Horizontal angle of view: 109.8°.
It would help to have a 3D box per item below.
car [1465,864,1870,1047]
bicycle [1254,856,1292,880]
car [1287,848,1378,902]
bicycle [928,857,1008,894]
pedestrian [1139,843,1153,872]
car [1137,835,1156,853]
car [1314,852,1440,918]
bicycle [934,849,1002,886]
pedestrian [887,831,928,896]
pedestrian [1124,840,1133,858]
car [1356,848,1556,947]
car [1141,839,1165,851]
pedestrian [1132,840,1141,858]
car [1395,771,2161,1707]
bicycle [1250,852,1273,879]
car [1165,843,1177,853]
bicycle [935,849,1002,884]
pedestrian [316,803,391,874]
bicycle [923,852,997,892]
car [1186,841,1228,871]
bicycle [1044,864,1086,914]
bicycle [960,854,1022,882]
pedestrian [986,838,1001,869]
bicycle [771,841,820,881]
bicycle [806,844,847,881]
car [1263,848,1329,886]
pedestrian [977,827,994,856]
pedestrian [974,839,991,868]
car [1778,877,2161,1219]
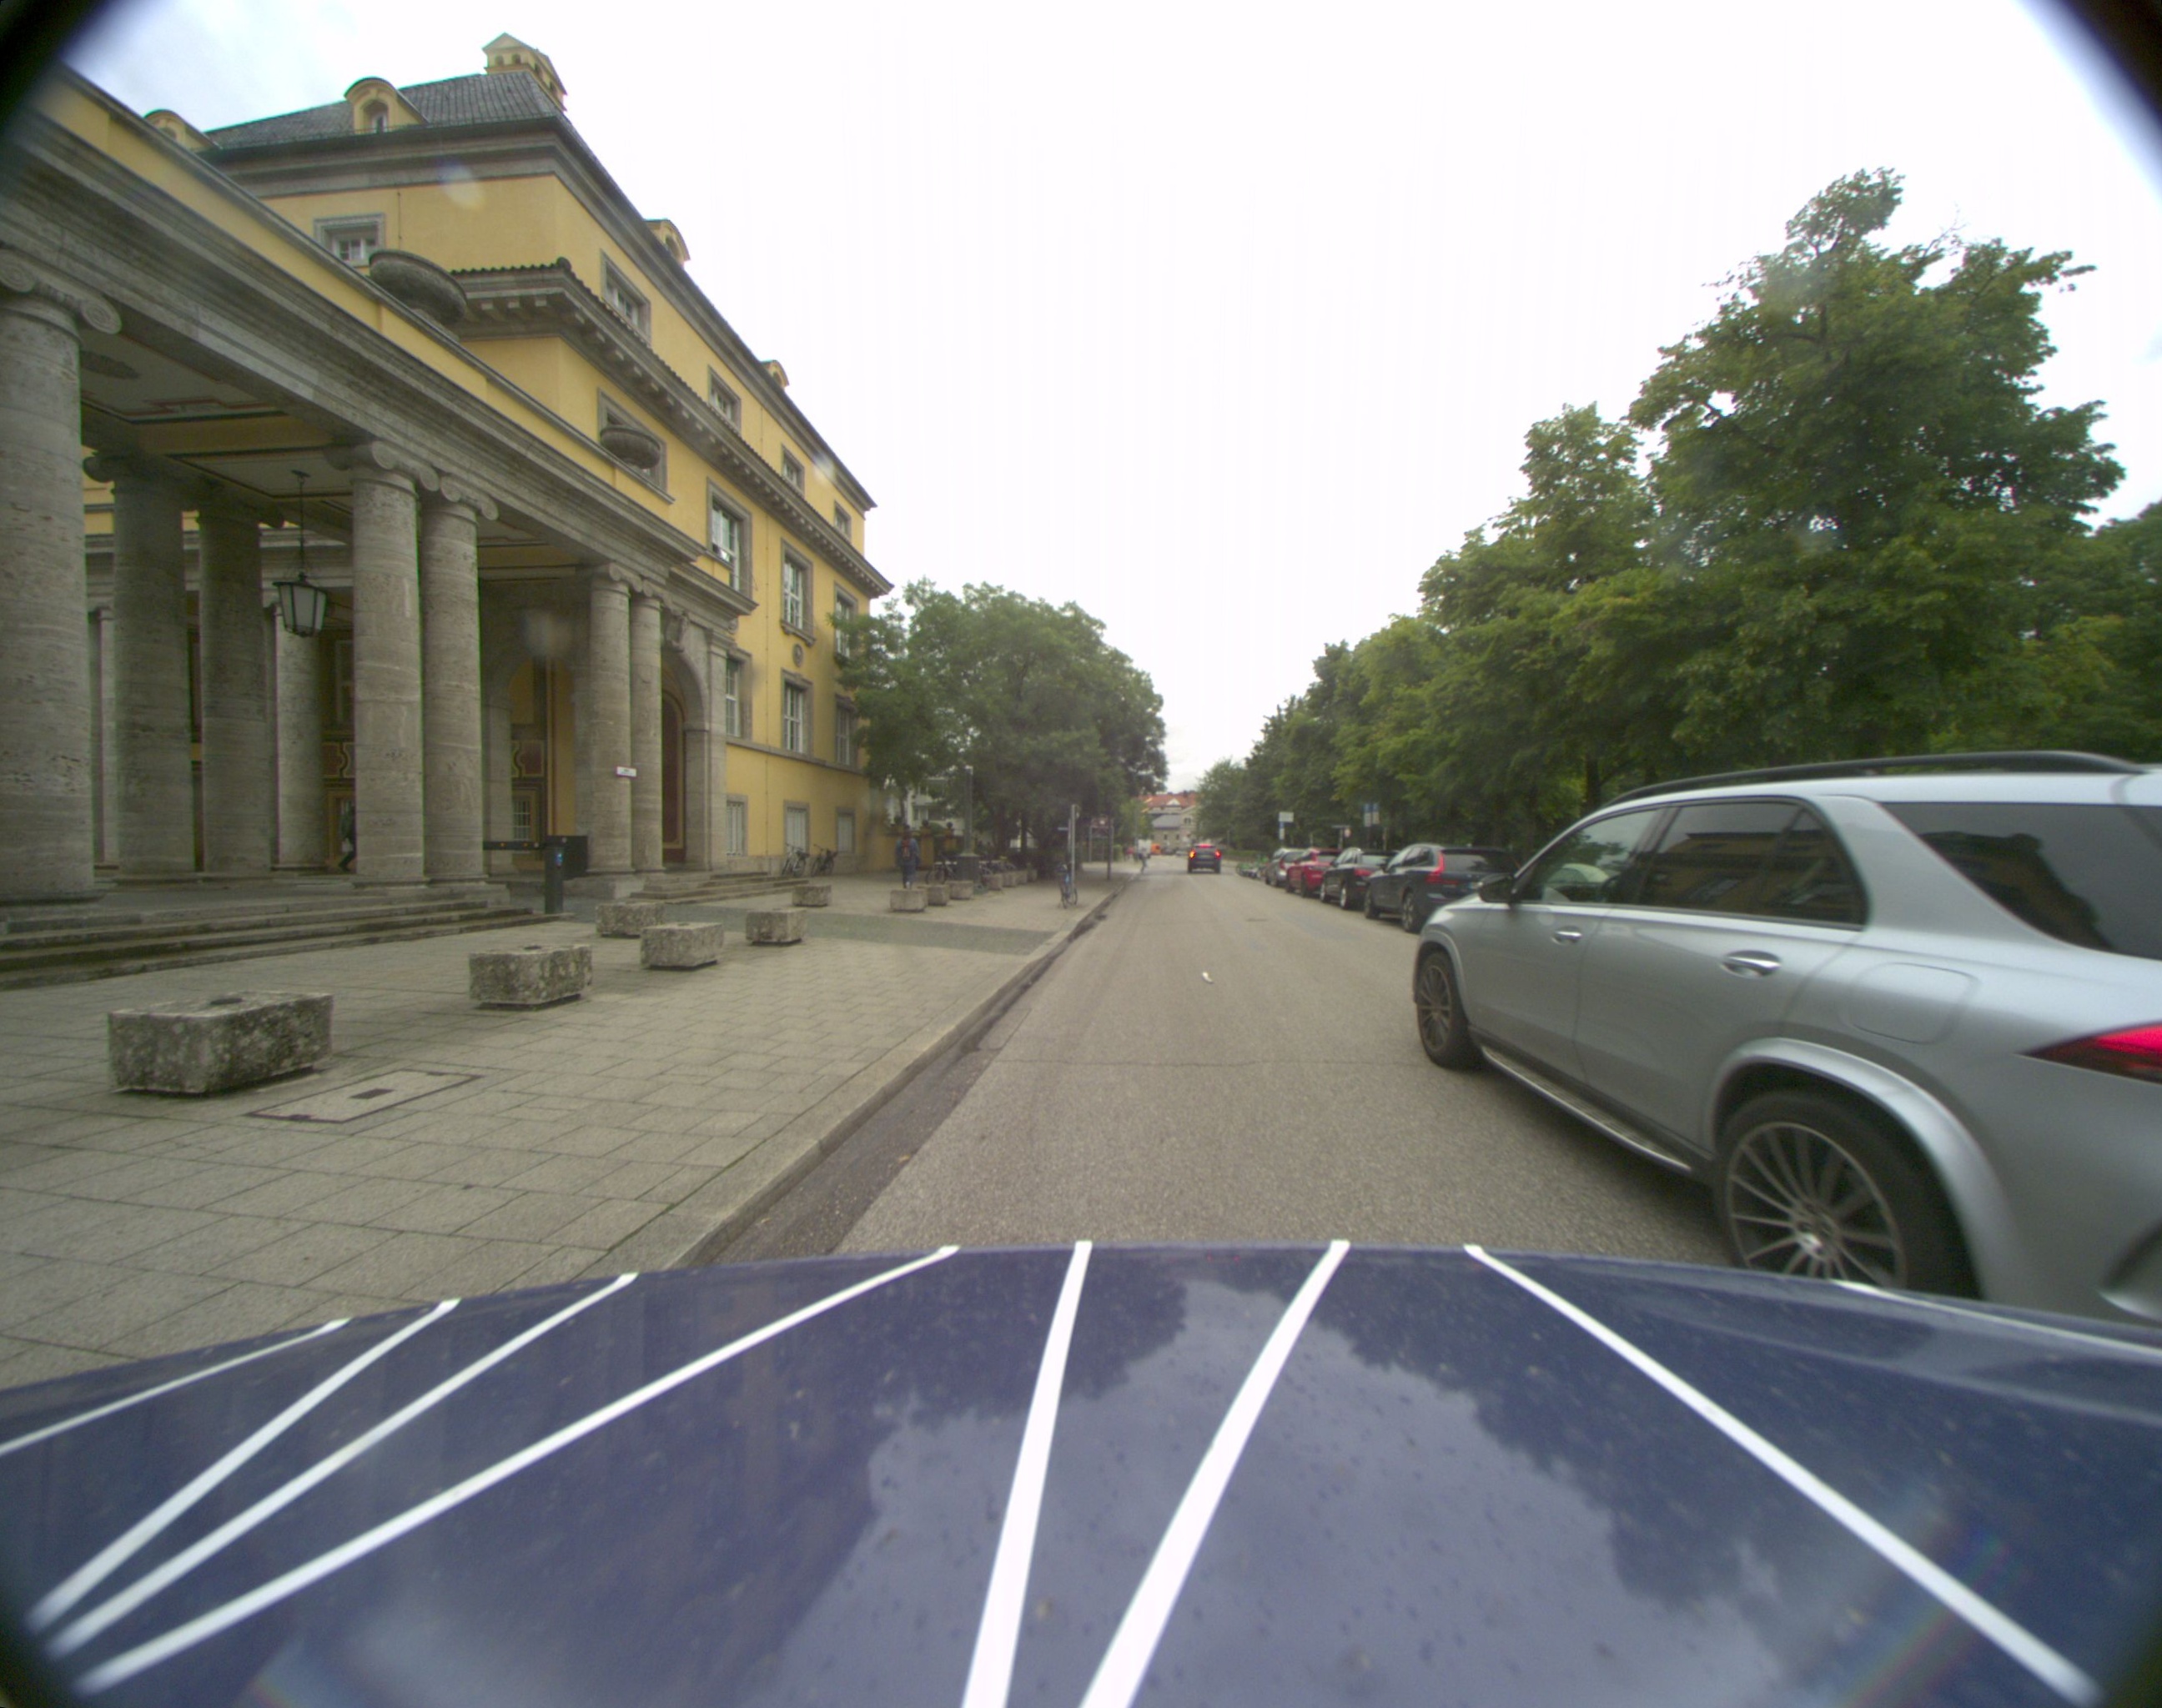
[{"bbox_3d":[6.206,0.915,8.812,1.761,1.392,4.219,4,1,7],"label":"car"},{"bbox_3d":[9.324,0.675,36.856,1.699,1.101,0.598,0,2,-2],"label":"bicycle"},{"bbox_3d":[8.044,0.605,24.735,1.997,1.535,4.366,1,1,7],"label":"car"},{"bbox_3d":[-3.486,0.651,23.609,2.369,1.000,0.677,3,1,-3],"label":"bicycle"},{"bbox_3d":[4.034,0.213,47.292,0.798,1.722,0.661,-2,2,5],"label":"pedestrian"},{"bbox_3d":[9.233,-1.441,107.308,2.235,2.289,4.730,-2,1,1],"label":"car"},{"bbox_3d":[7.629,0.716,20.097,1.997,1.453,4.649,1,1,7],"label":"car"},{"bbox_3d":[-3.943,0.458,26.639,2.263,1.053,0.601,5,2,-5],"label":"bicycle"},{"bbox_3d":[-4.777,0.247,21.015,0.789,1.736,1.056,1,1,6],"label":"pedestrian"},{"bbox_3d":[5.026,-0.508,80.562,0.777,1.855,0.997,-3,2,-2],"label":"pedestrian"},{"bbox_3d":[6.944,0.689,14.704,1.997,1.574,4.523,1,1,6],"label":"car"},{"bbox_3d":[16.080,-1.977,169.823,2.577,2.521,4.974,-4,2,-40],"label":"car"},{"bbox_3d":[5.896,-0.547,80.250,0.777,1.855,0.997,-3,2,0],"label":"pedestrian"},{"bbox_3d":[3.074,0.696,3.252,2.028,1.679,4.679,1,1,8],"label":"car"},{"bbox_3d":[9.133,0.576,38.411,0.574,1.275,1.421,0,1,39],"label":"bicycle"},{"bbox_3d":[18.635,-1.222,157.072,2.221,1.840,4.732,-2,1,6],"label":"car"},{"bbox_3d":[-4.067,0.450,27.570,2.263,1.018,0.601,5,2,-5],"label":"bicycle"},{"bbox_3d":[-18.359,-0.384,19.190,0.984,1.710,0.806,-3,2,-5],"label":"pedestrian"},{"bbox_3d":[-3.949,0.577,24.865,2.263,1.088,0.601,5,2,-5],"label":"bicycle"},{"bbox_3d":[7.642,0.077,46.596,1.965,1.672,4.912,2,1,3],"label":"car"},{"bbox_3d":[-0.367,0.848,19.296,0.762,1.094,2.264,3,1,5],"label":"bicycle"},{"bbox_3d":[-3.506,0.536,29.680,2.260,1.005,0.602,3,1,8],"label":"bicycle"},{"bbox_3d":[-5.342,-0.029,46.477,0.658,1.855,0.821,3,2,6],"label":"pedestrian"},{"bbox_3d":[-9.704,0.216,25.950,0.601,1.299,2.265,1,1,6],"label":"bicycle"},{"bbox_3d":[-9.449,0.294,28.297,0.601,1.299,2.165,1,1,6],"label":"bicycle"},{"bbox_3d":[8.835,0.484,31.611,1.997,1.453,4.366,1,1,7],"label":"car"},{"bbox_3d":[-6.241,-0.829,49.825,0.782,1.855,1.035,3,2,6],"label":"pedestrian"},{"bbox_3d":[-6.036,-0.019,46.541,0.741,1.734,0.841,3,2,6],"label":"pedestrian"},{"bbox_3d":[5.742,0.949,3.733,1.546,1.462,3.554,2,1,6],"label":"car"}]
